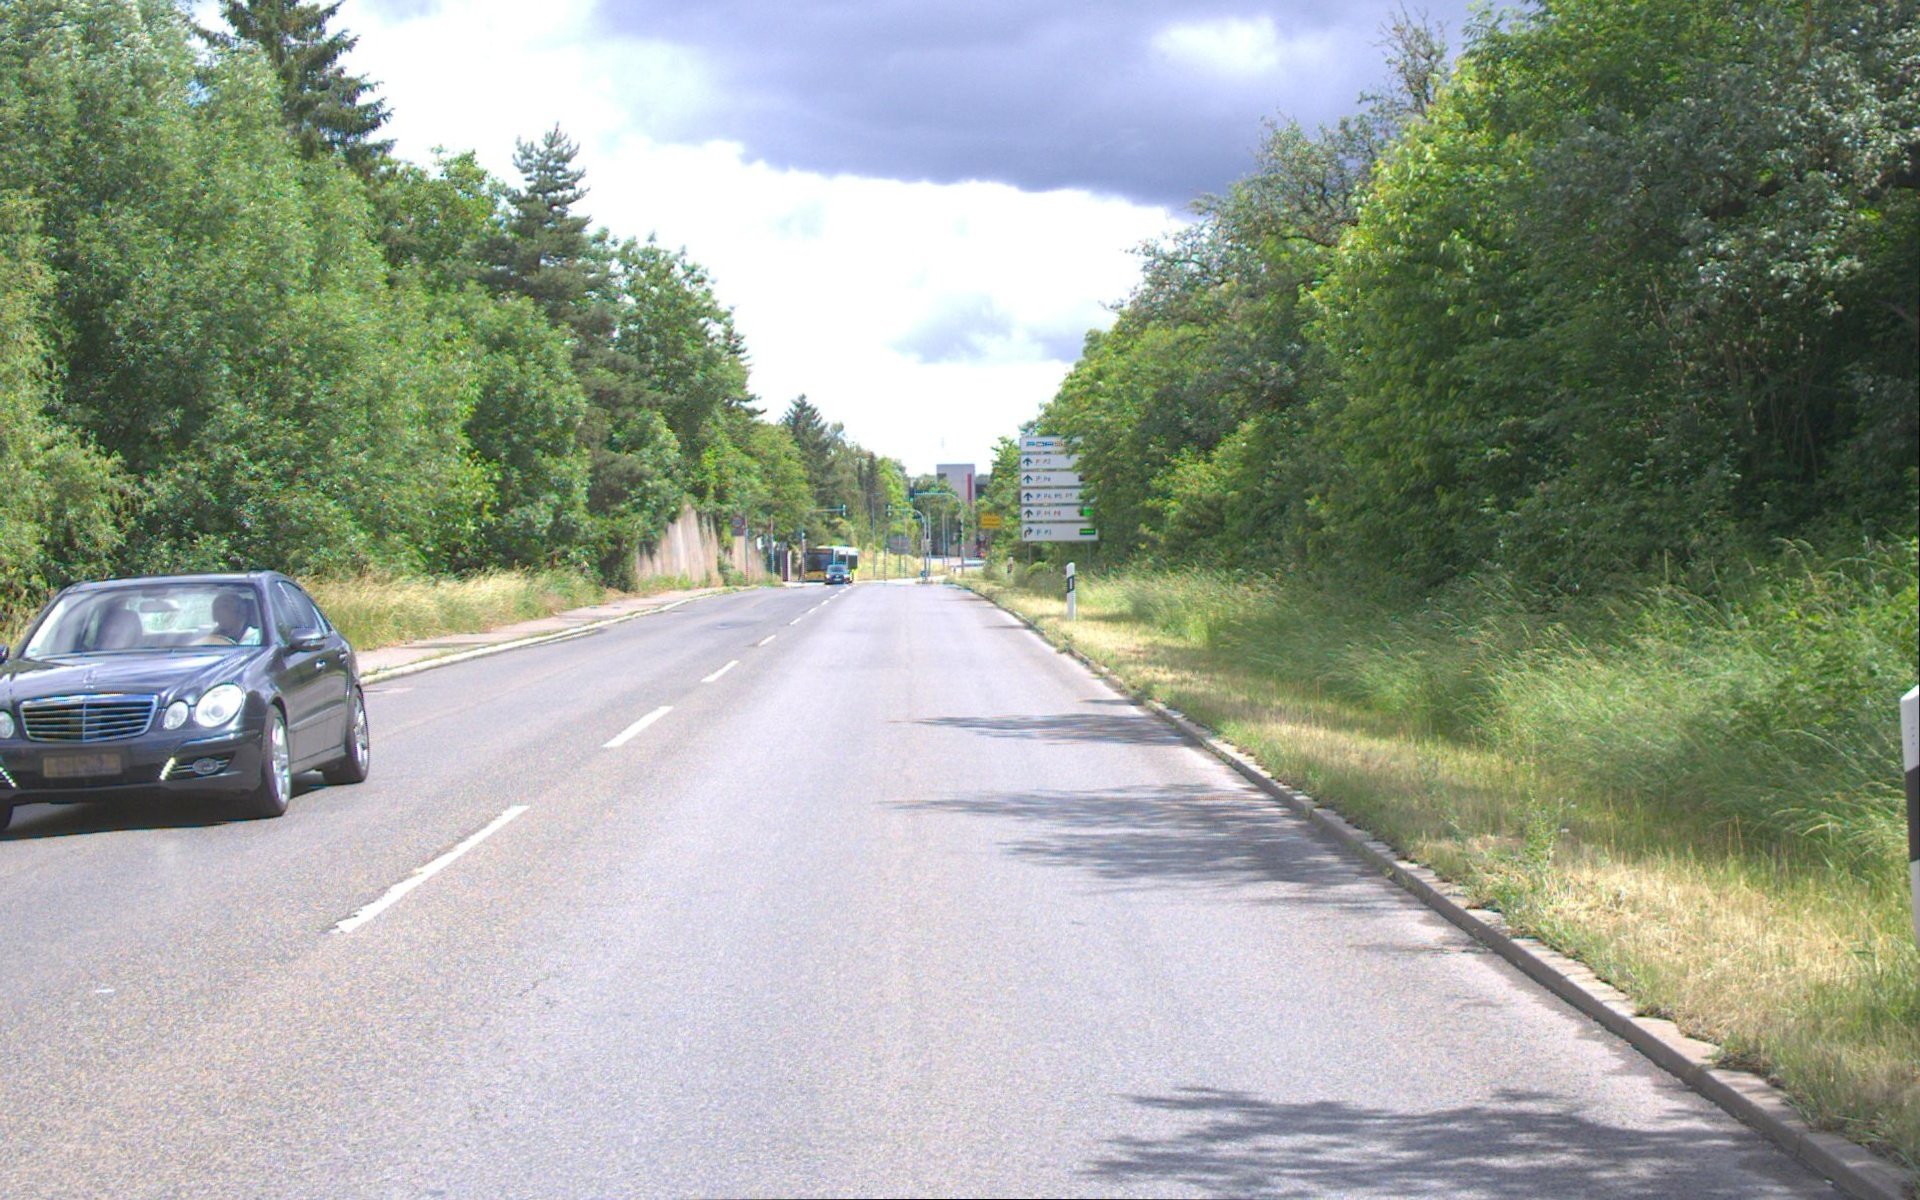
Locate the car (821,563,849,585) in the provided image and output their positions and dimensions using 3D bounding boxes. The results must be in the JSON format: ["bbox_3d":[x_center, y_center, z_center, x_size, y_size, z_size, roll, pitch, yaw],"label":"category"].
[{"bbox_3d":[-8.548,-1.804,235.271,1.751,1.459,4.000,-2,1,-1],"label":"car"}]

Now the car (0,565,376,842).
[{"bbox_3d":[-4.703,0.533,20.410,1.784,1.329,4.623,-3,1,-2],"label":"car"}]
